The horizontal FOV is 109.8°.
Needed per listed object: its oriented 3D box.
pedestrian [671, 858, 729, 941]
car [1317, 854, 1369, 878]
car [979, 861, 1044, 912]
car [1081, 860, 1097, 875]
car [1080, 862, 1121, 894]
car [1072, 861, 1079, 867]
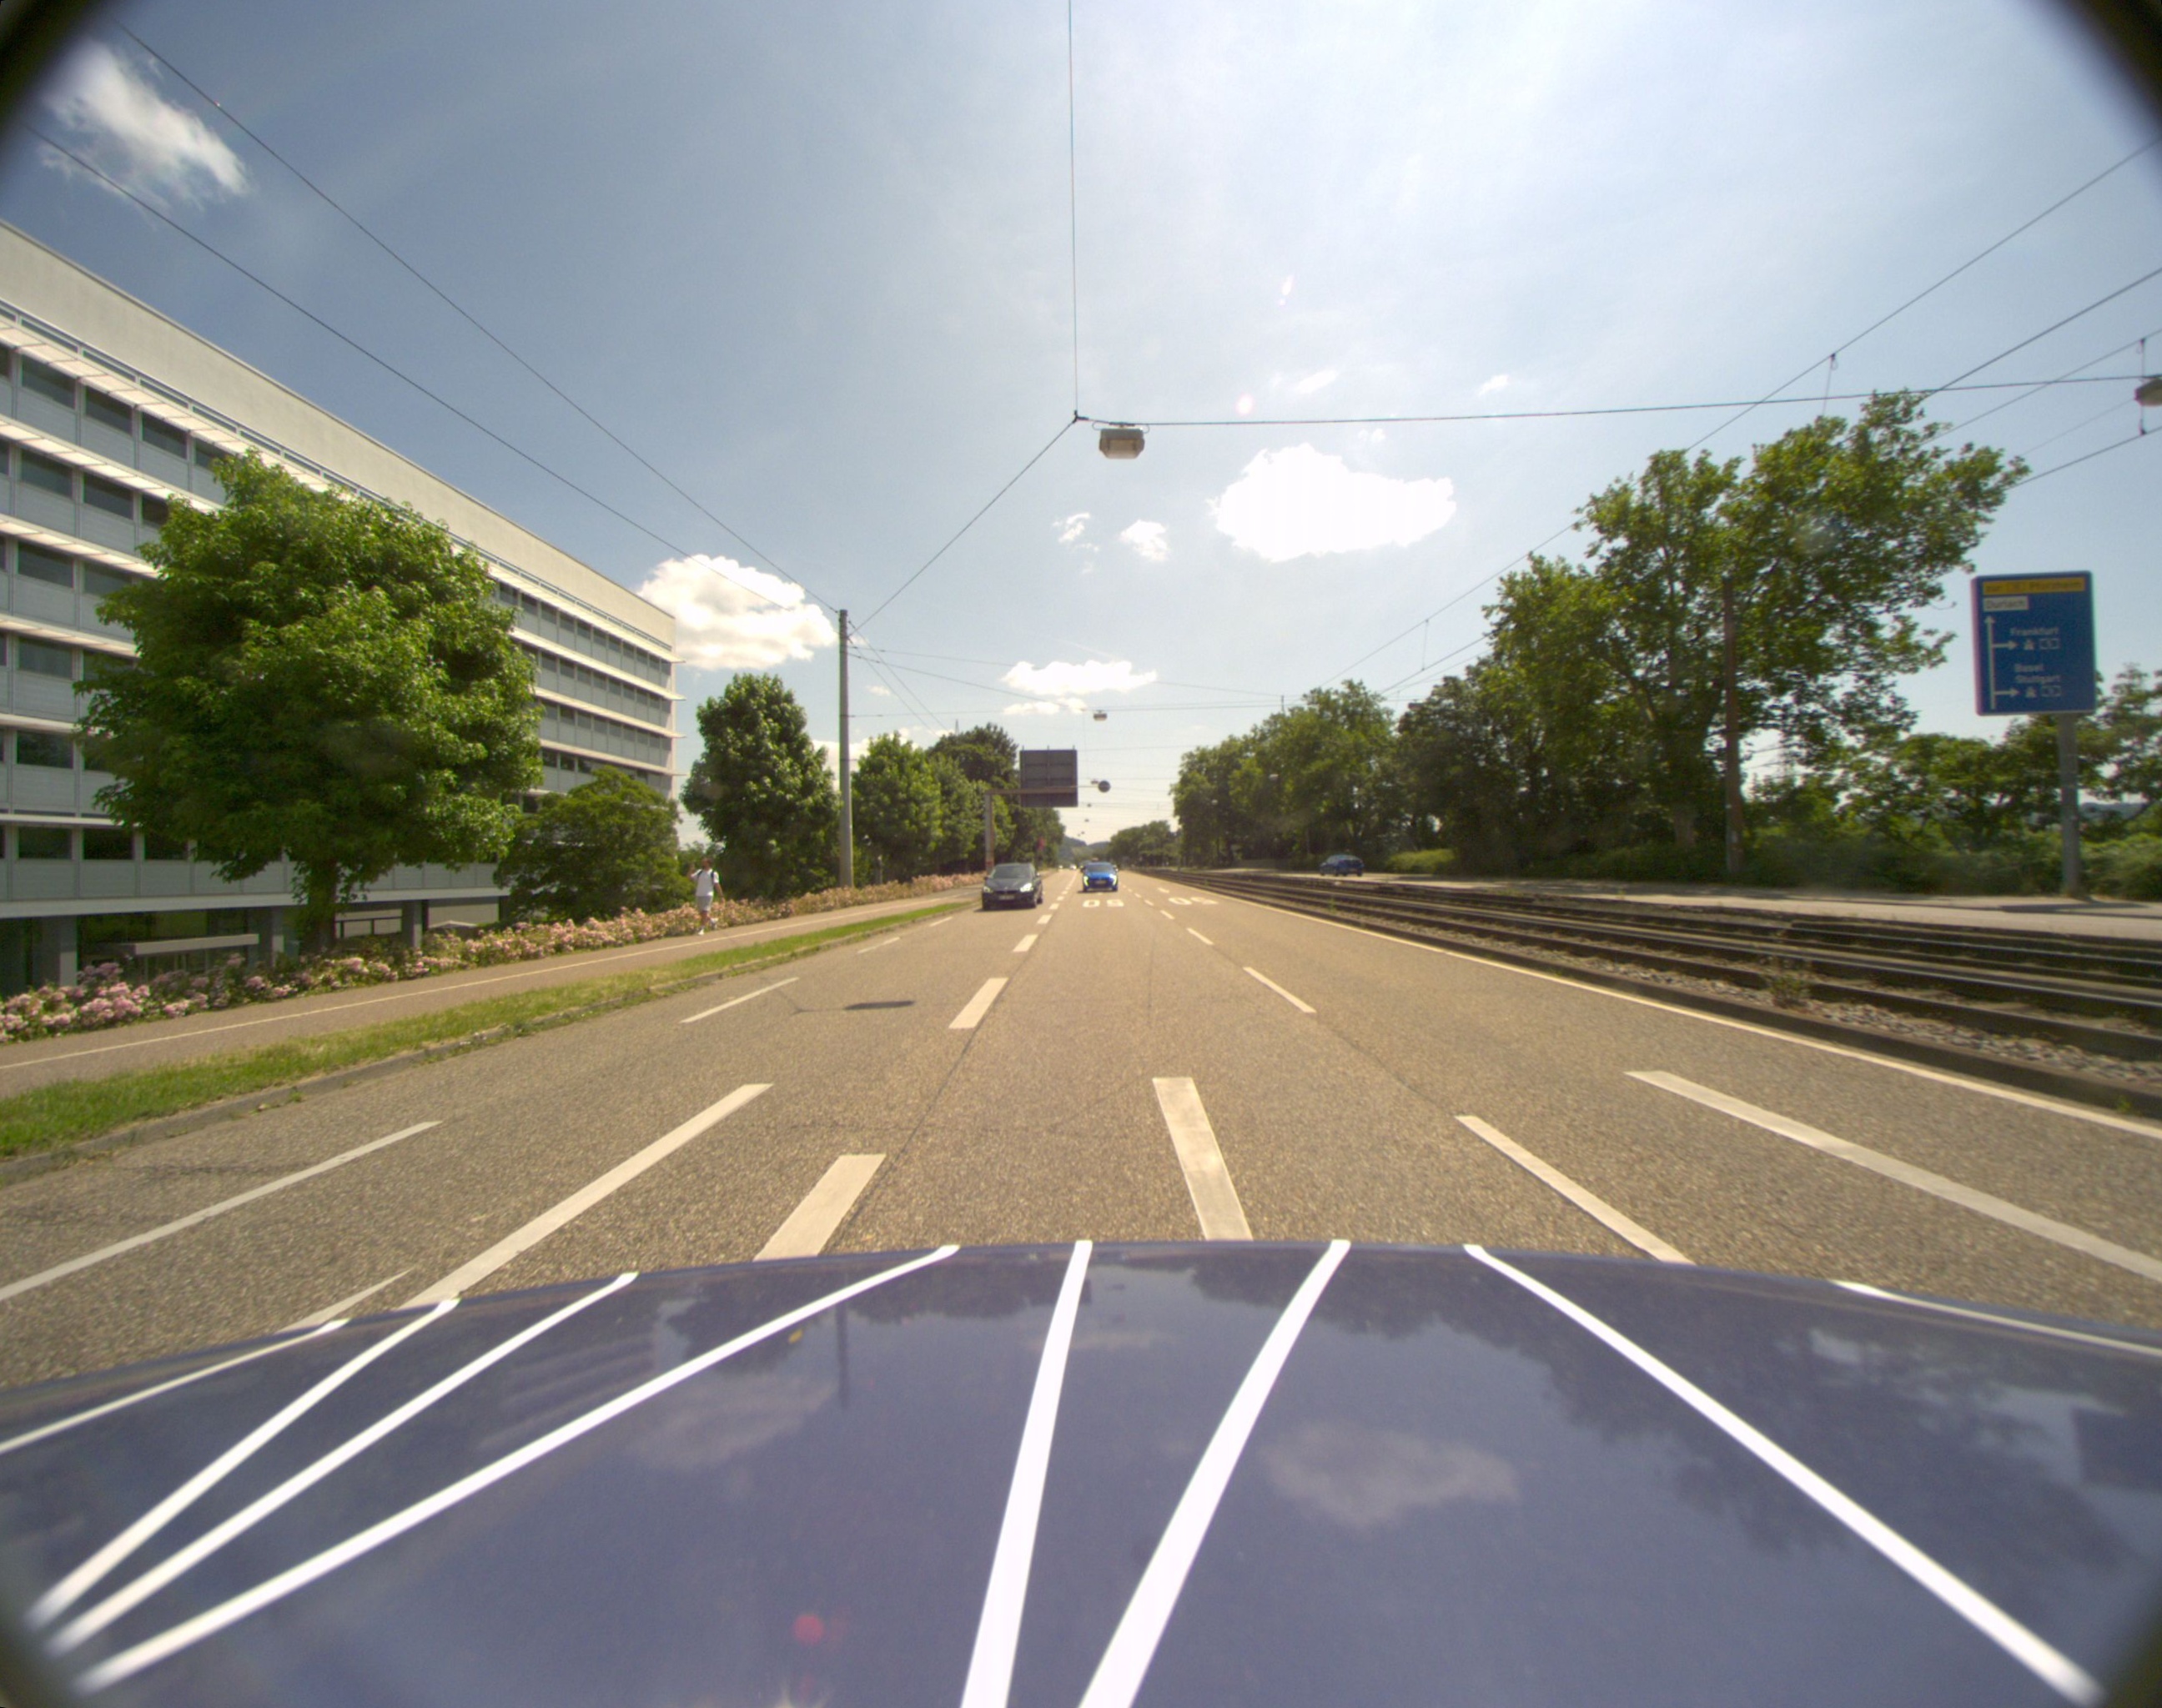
[{"bbox_3d":[-8.855,1.032,17.692,0.758,1.838,0.931,-3,1,3],"label":"pedestrian"},{"bbox_3d":[17.589,0.784,51.224,1.803,1.495,4.735,0,0,-1],"label":"car"},{"bbox_3d":[-2.348,1.067,26.653,1.765,1.517,4.100,-3,0,1],"label":"car"},{"bbox_3d":[1.074,1.840,105.052,1.998,2.002,4.000,-4,0,0],"label":"car"},{"bbox_3d":[0.938,1.209,37.532,1.842,1.445,4.002,-1,-2,1],"label":"car"},{"bbox_3d":[-1.474,2.790,211.716,1.896,1.331,4.000,-3,0,1],"label":"car"}]
